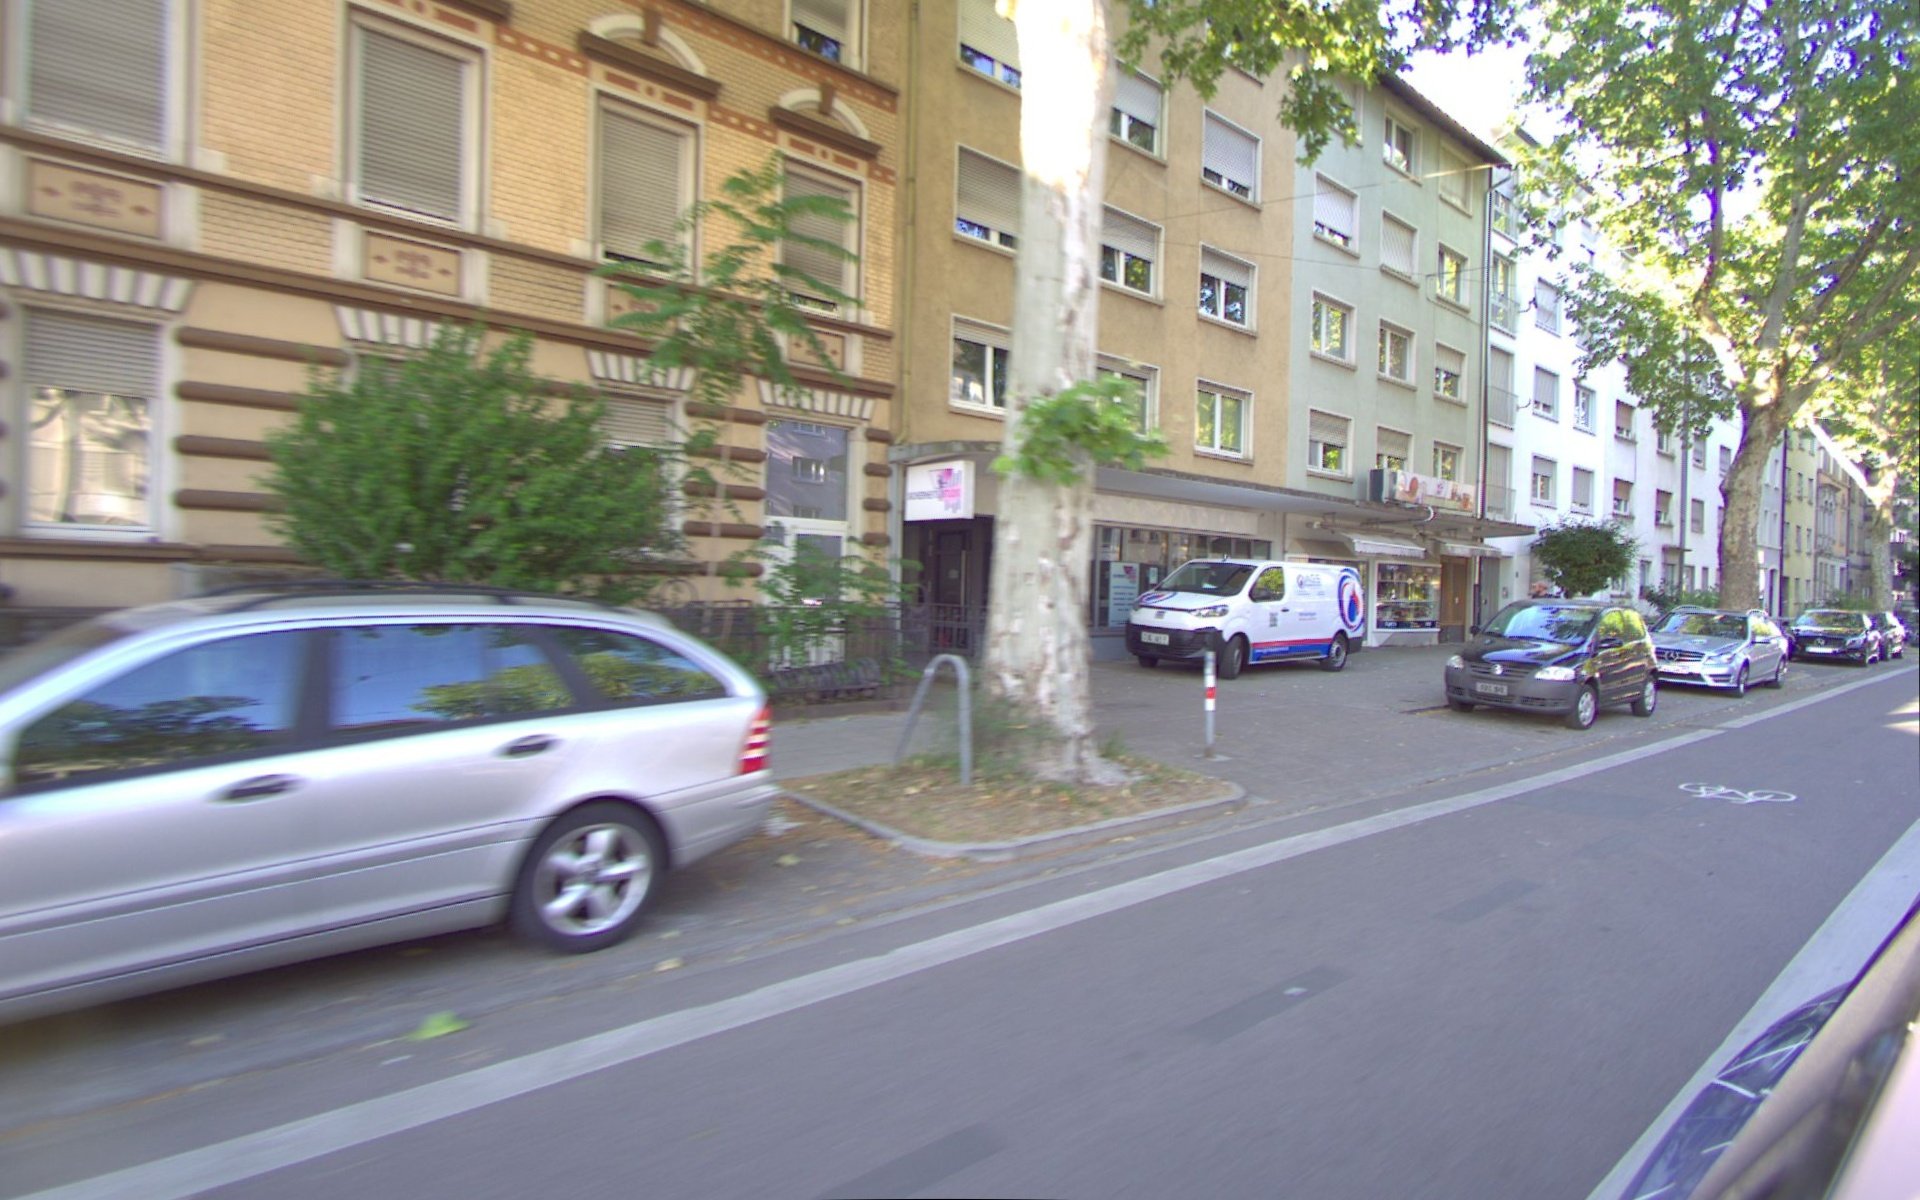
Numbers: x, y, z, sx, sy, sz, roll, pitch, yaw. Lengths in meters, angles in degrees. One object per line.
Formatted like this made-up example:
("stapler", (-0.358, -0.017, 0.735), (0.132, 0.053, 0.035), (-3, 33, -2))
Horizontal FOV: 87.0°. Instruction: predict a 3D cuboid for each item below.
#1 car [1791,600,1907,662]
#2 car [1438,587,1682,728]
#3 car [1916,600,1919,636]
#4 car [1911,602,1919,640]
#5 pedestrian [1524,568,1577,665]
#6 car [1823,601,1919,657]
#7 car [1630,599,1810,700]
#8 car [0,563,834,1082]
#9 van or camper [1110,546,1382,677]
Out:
("car", (23.706, 0.761, 26.938), (4.288, 1.432, 1.712), (0, 3, -41))
("car", (8.097, 0.660, 13.516), (3.931, 1.564, 1.656), (0, 2, -42))
("car", (44.058, 0.838, 44.846), (4.583, 1.585, 1.998), (0, 3, -41))
("car", (39.161, 0.848, 40.324), (1.744, 1.482, 3.962), (2, 1, 44))
("pedestrian", (12.746, 0.348, 21.837), (0.994, 2.039, 0.684), (1, 1, -42))
("car", (27.277, 0.801, 30.156), (4.288, 1.432, 1.712), (0, 3, -41))
("car", (13.919, 0.805, 18.426), (4.694, 1.562, 1.698), (0, 1, -42))
("car", (-2.820, 0.613, 3.916), (4.493, 1.469, 1.676), (0, 1, -43))
("van or camper", (5.084, 0.150, 17.515), (5.298, 1.946, 1.945), (0, 2, -42))
